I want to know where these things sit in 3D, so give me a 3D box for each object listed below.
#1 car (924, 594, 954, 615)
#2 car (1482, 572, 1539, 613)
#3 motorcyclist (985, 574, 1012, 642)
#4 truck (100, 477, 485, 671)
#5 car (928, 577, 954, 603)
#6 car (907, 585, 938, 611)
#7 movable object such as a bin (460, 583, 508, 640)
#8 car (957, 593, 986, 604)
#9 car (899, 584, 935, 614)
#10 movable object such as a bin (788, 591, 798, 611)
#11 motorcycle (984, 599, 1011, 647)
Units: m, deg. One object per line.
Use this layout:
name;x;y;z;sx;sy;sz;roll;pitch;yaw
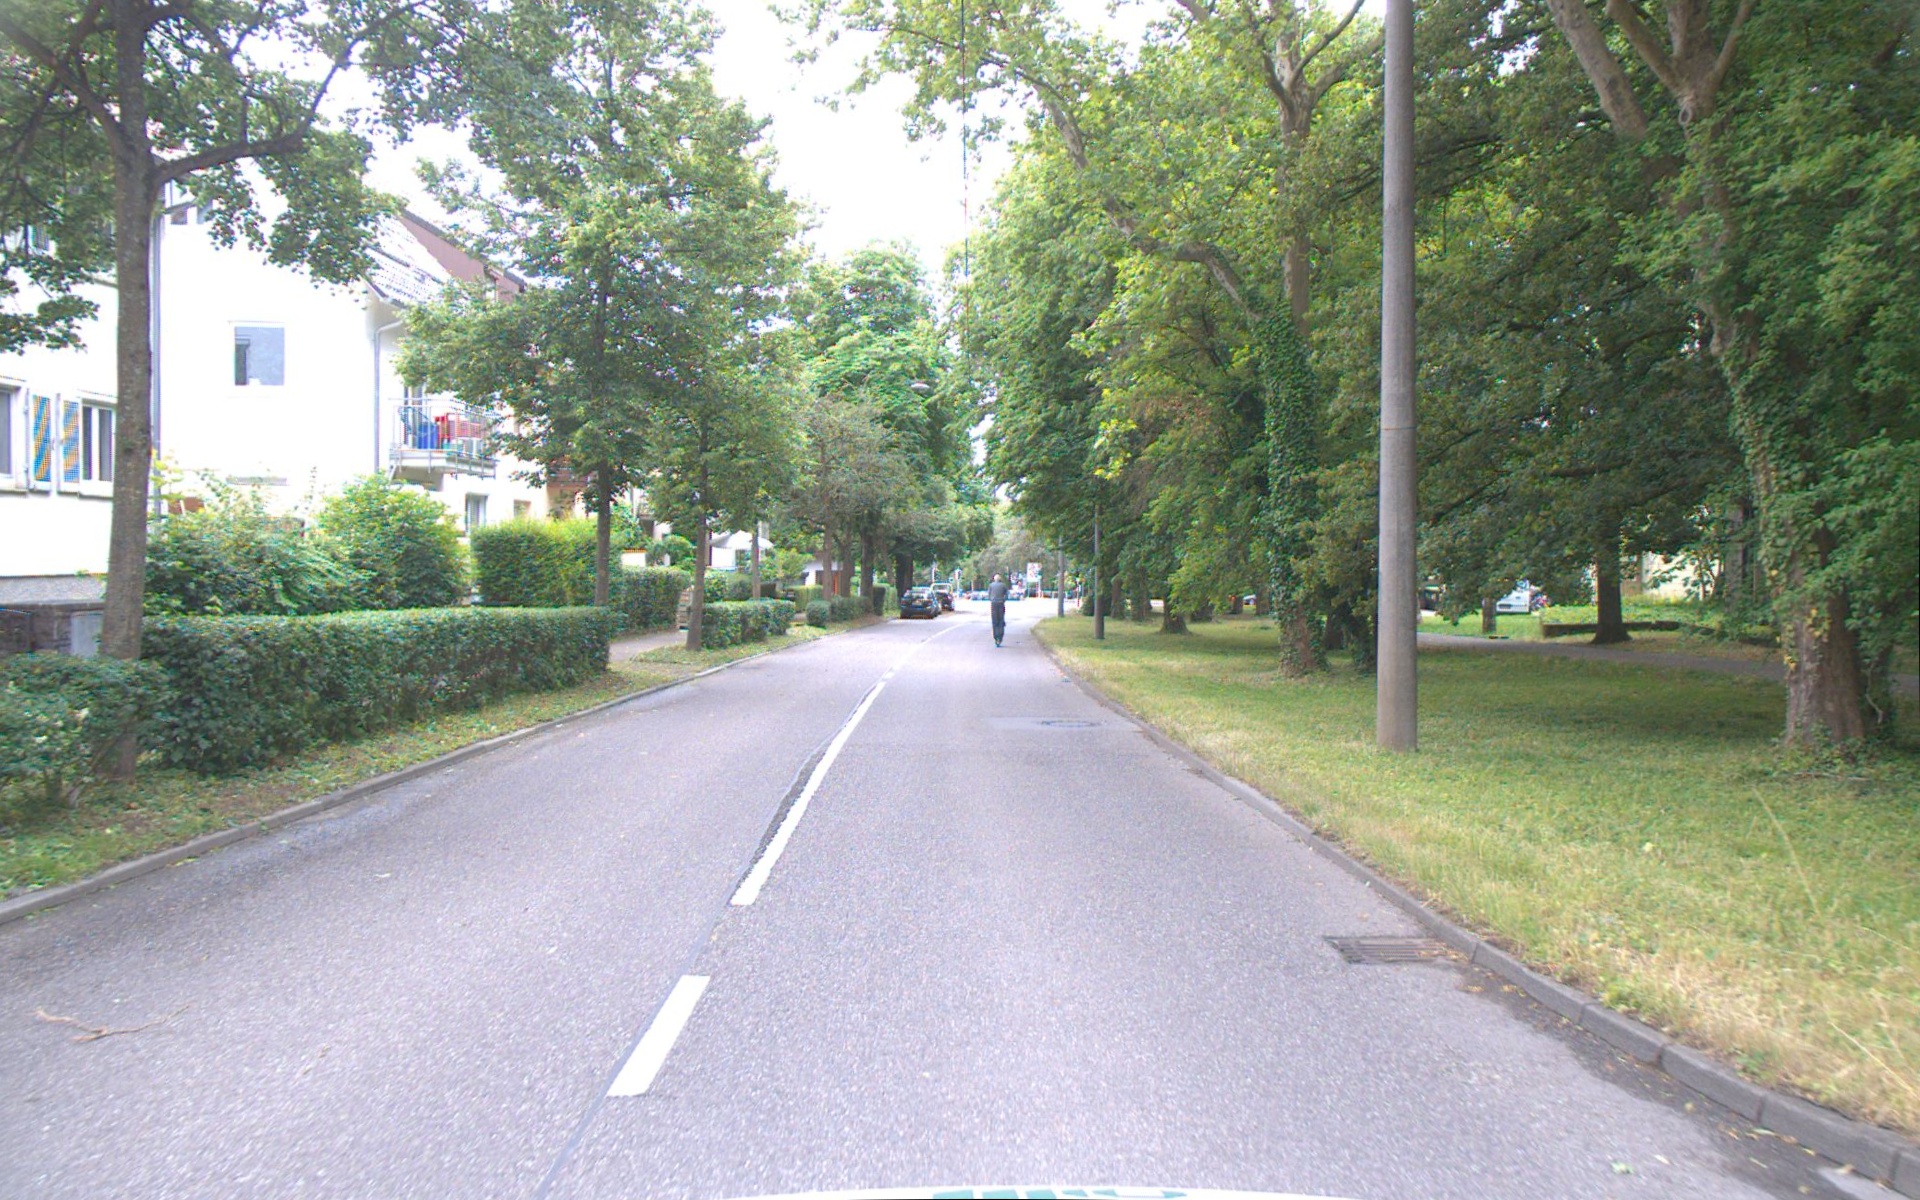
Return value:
car;-1.445;0.333;117.756;1.852;1.435;4.555;0;0;3
car;27.455;-0.399;82.626;2.041;1.875;4.972;-1;1;10
motorcyclist;1.032;0.204;44.518;0.659;1.792;0.639;2;0;3
truck;-11.543;-0.436;28.988;5.678;3.185;2.517;1;0;-1
car;-1.523;-0.765;128.650;1.820;1.998;4.501;0;0;-3
car;-2.043;-0.116;91.746;1.630;1.416;3.706;0;0;0
movable object such as a bin;-7.949;0.190;27.628;0.568;0.942;0.693;-1;0;2
car;1.521;-0.217;226.150;3.905;1.537;1.800;0;0;-1
car;-2.214;-0.044;86.552;1.757;1.498;4.418;0;0;0
movable object such as a bin;-7.863;0.051;77.938;0.447;0.931;0.508;0;0;-4
motorcycle;1.011;0.606;44.339;0.659;1.239;1.274;2;0;3
